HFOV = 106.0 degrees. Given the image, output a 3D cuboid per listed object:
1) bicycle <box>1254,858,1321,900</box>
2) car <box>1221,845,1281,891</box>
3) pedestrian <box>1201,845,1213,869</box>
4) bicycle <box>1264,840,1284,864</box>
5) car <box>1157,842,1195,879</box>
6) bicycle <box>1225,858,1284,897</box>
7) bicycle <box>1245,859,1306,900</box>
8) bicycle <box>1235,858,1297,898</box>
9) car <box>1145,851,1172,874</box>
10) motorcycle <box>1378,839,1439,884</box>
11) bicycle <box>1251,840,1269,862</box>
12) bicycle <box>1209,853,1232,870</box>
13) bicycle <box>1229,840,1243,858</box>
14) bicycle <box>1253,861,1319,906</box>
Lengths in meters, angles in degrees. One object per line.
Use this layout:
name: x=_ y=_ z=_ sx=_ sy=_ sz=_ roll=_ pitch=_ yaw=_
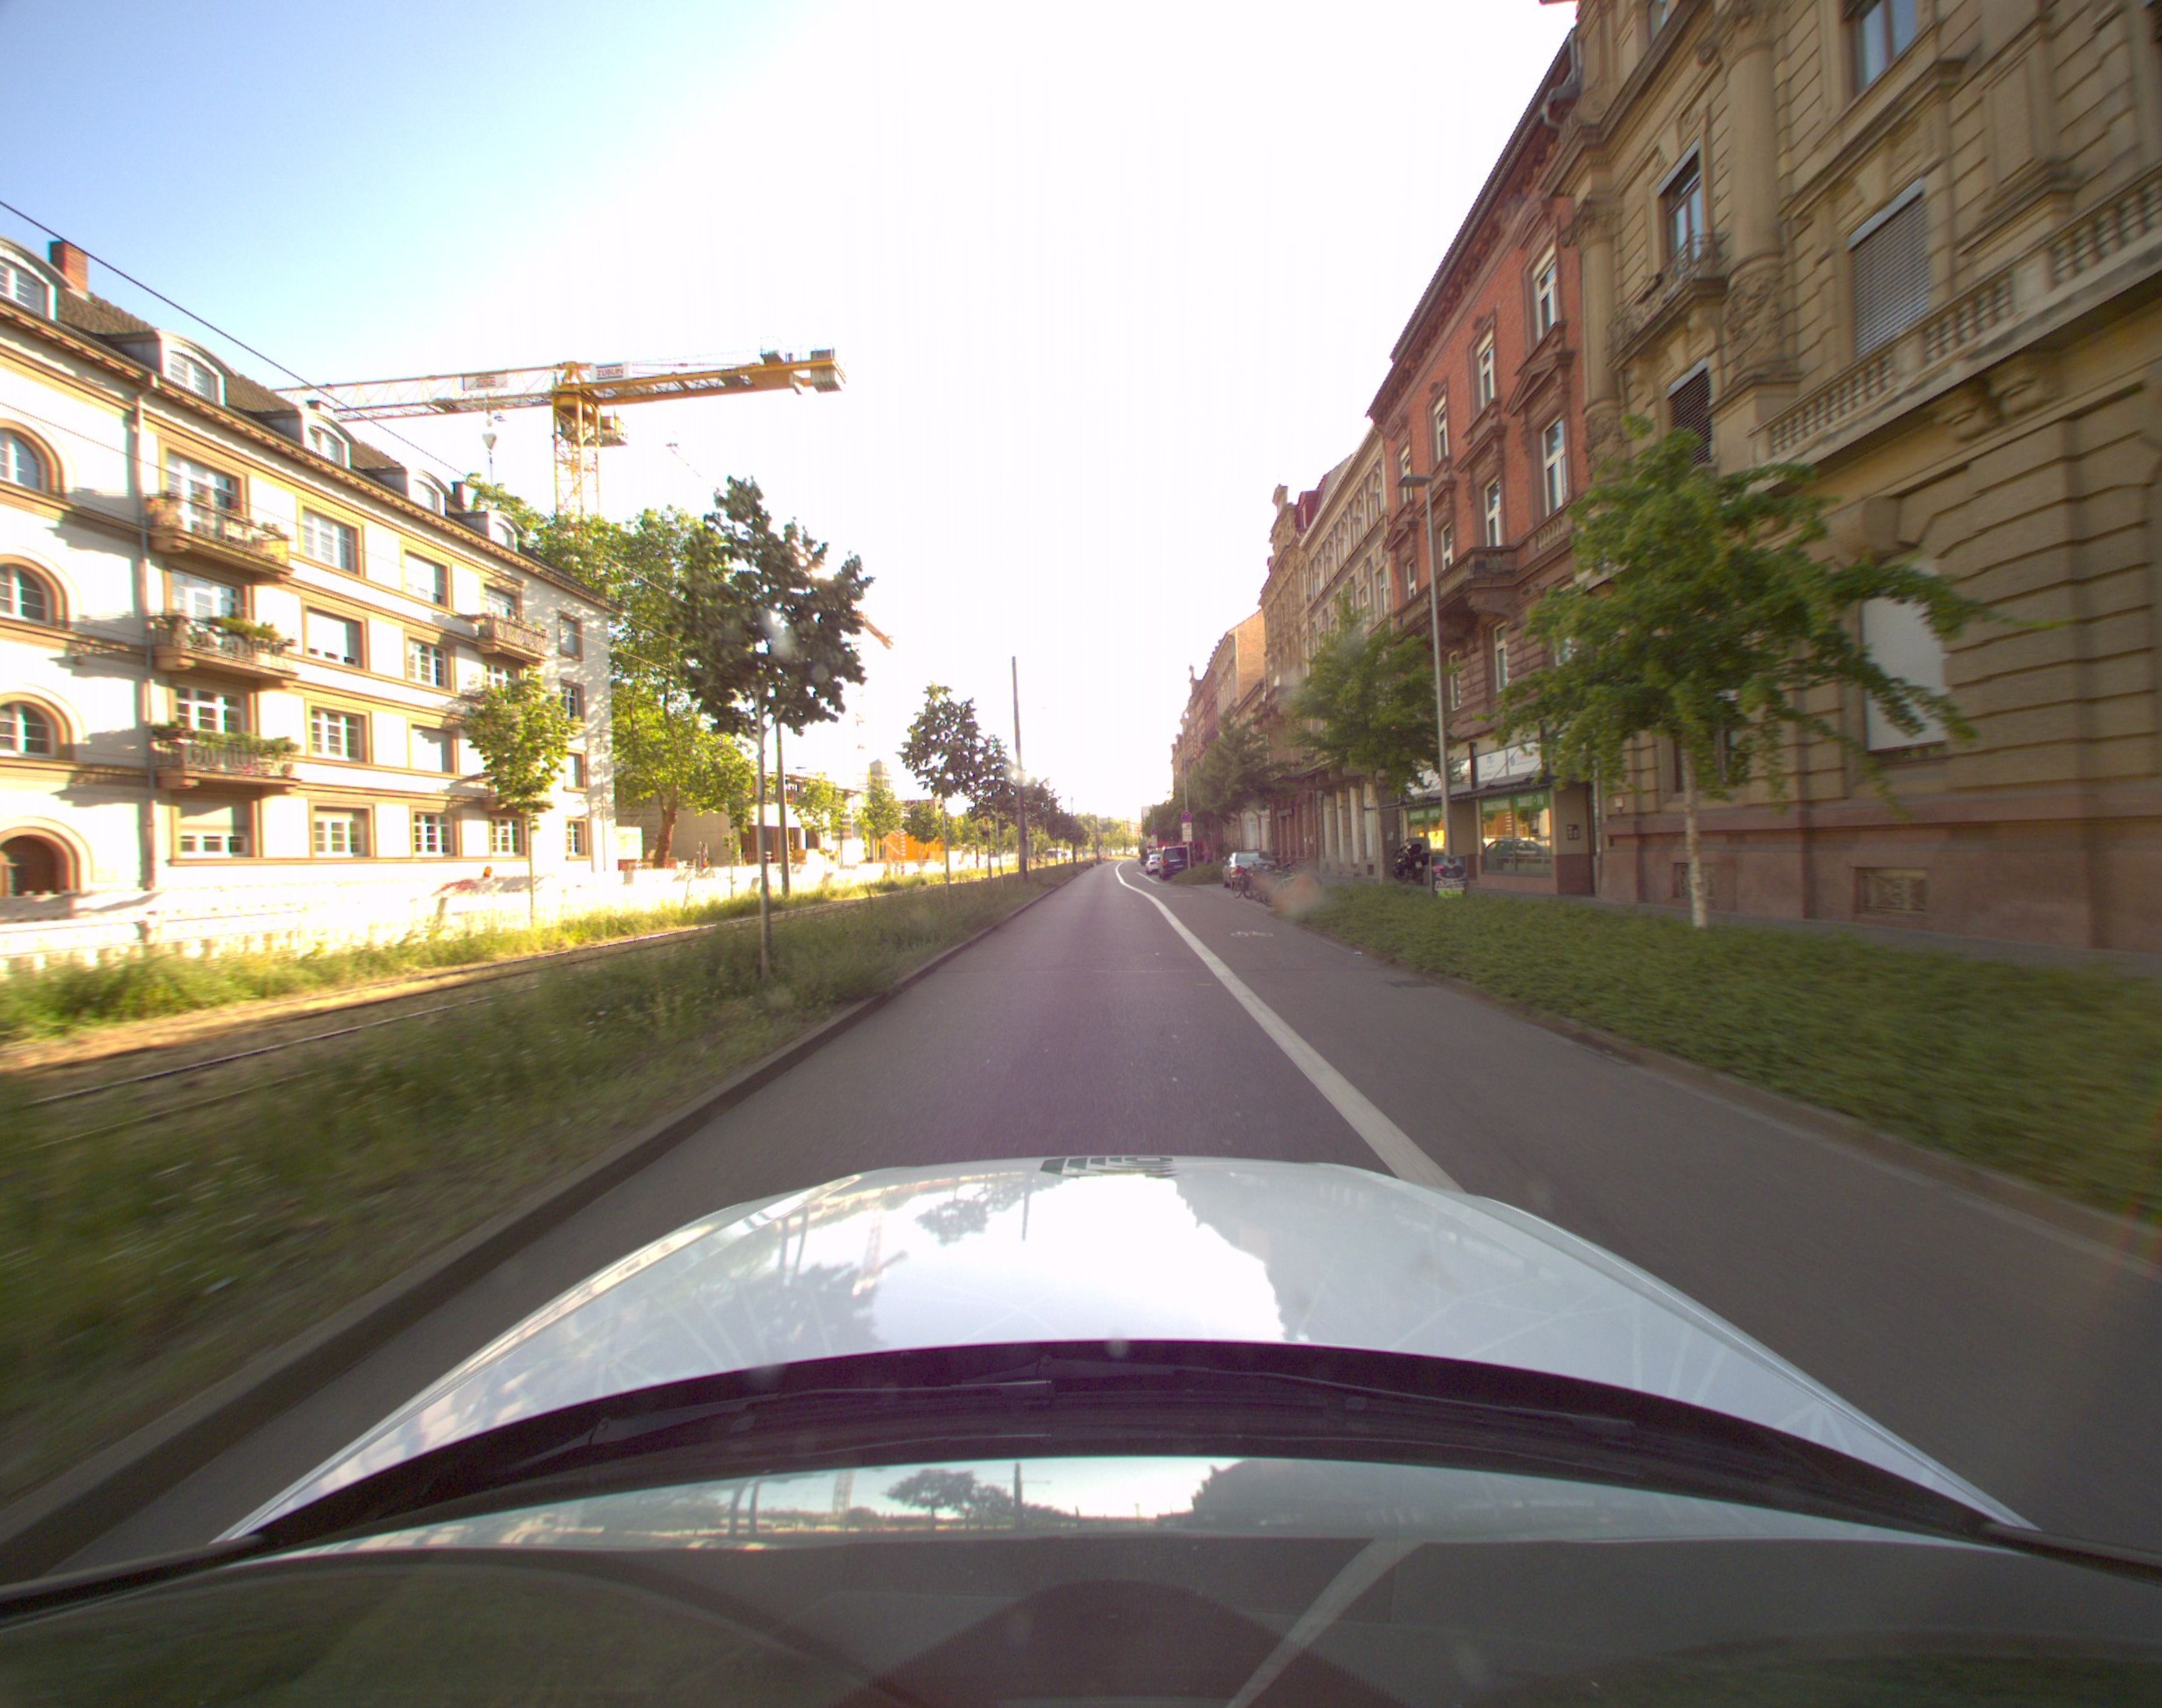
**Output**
bicycle: x=5.812 y=0.695 z=22.946 sx=1.689 sy=1.048 sz=0.488 roll=-5 pitch=0 yaw=-6
car: x=6.473 y=0.472 z=31.401 sx=1.629 sy=1.486 sz=4.217 roll=-5 pitch=1 yaw=4
pedestrian: x=8.017 y=0.184 z=51.802 sx=0.623 sy=1.459 sz=0.638 roll=-3 pitch=0 yaw=1
bicycle: x=11.802 y=-0.115 z=49.887 sx=0.658 sy=1.402 sz=2.353 roll=-3 pitch=1 yaw=1
car: x=5.544 y=0.351 z=47.958 sx=1.877 sy=1.937 sz=4.478 roll=-3 pitch=1 yaw=3
bicycle: x=5.516 y=0.736 z=25.944 sx=1.685 sy=1.048 sz=0.490 roll=-6 pitch=0 yaw=2
bicycle: x=5.599 y=0.734 z=23.489 sx=1.574 sy=1.048 sz=0.488 roll=-5 pitch=0 yaw=-6
bicycle: x=5.594 y=0.716 z=24.642 sx=1.685 sy=1.048 sz=0.490 roll=-6 pitch=0 yaw=2
car: x=5.805 y=0.607 z=61.477 sx=1.842 sy=1.457 sz=4.160 roll=-3 pitch=1 yaw=3
motorcycle: x=10.482 y=0.199 z=26.177 sx=0.792 sy=1.308 sz=2.853 roll=-5 pitch=1 yaw=2
bicycle: x=11.912 y=-0.197 z=54.350 sx=0.658 sy=1.402 sz=2.353 roll=-3 pitch=1 yaw=1
bicycle: x=9.462 y=0.486 z=55.348 sx=1.077 sy=1.084 sz=2.771 roll=-2 pitch=0 yaw=1
bicycle: x=12.468 y=-0.420 z=65.723 sx=0.658 sy=1.402 sz=2.353 roll=-3 pitch=1 yaw=1
bicycle: x=5.453 y=0.769 z=21.664 sx=1.574 sy=1.048 sz=0.488 roll=-5 pitch=0 yaw=-6
